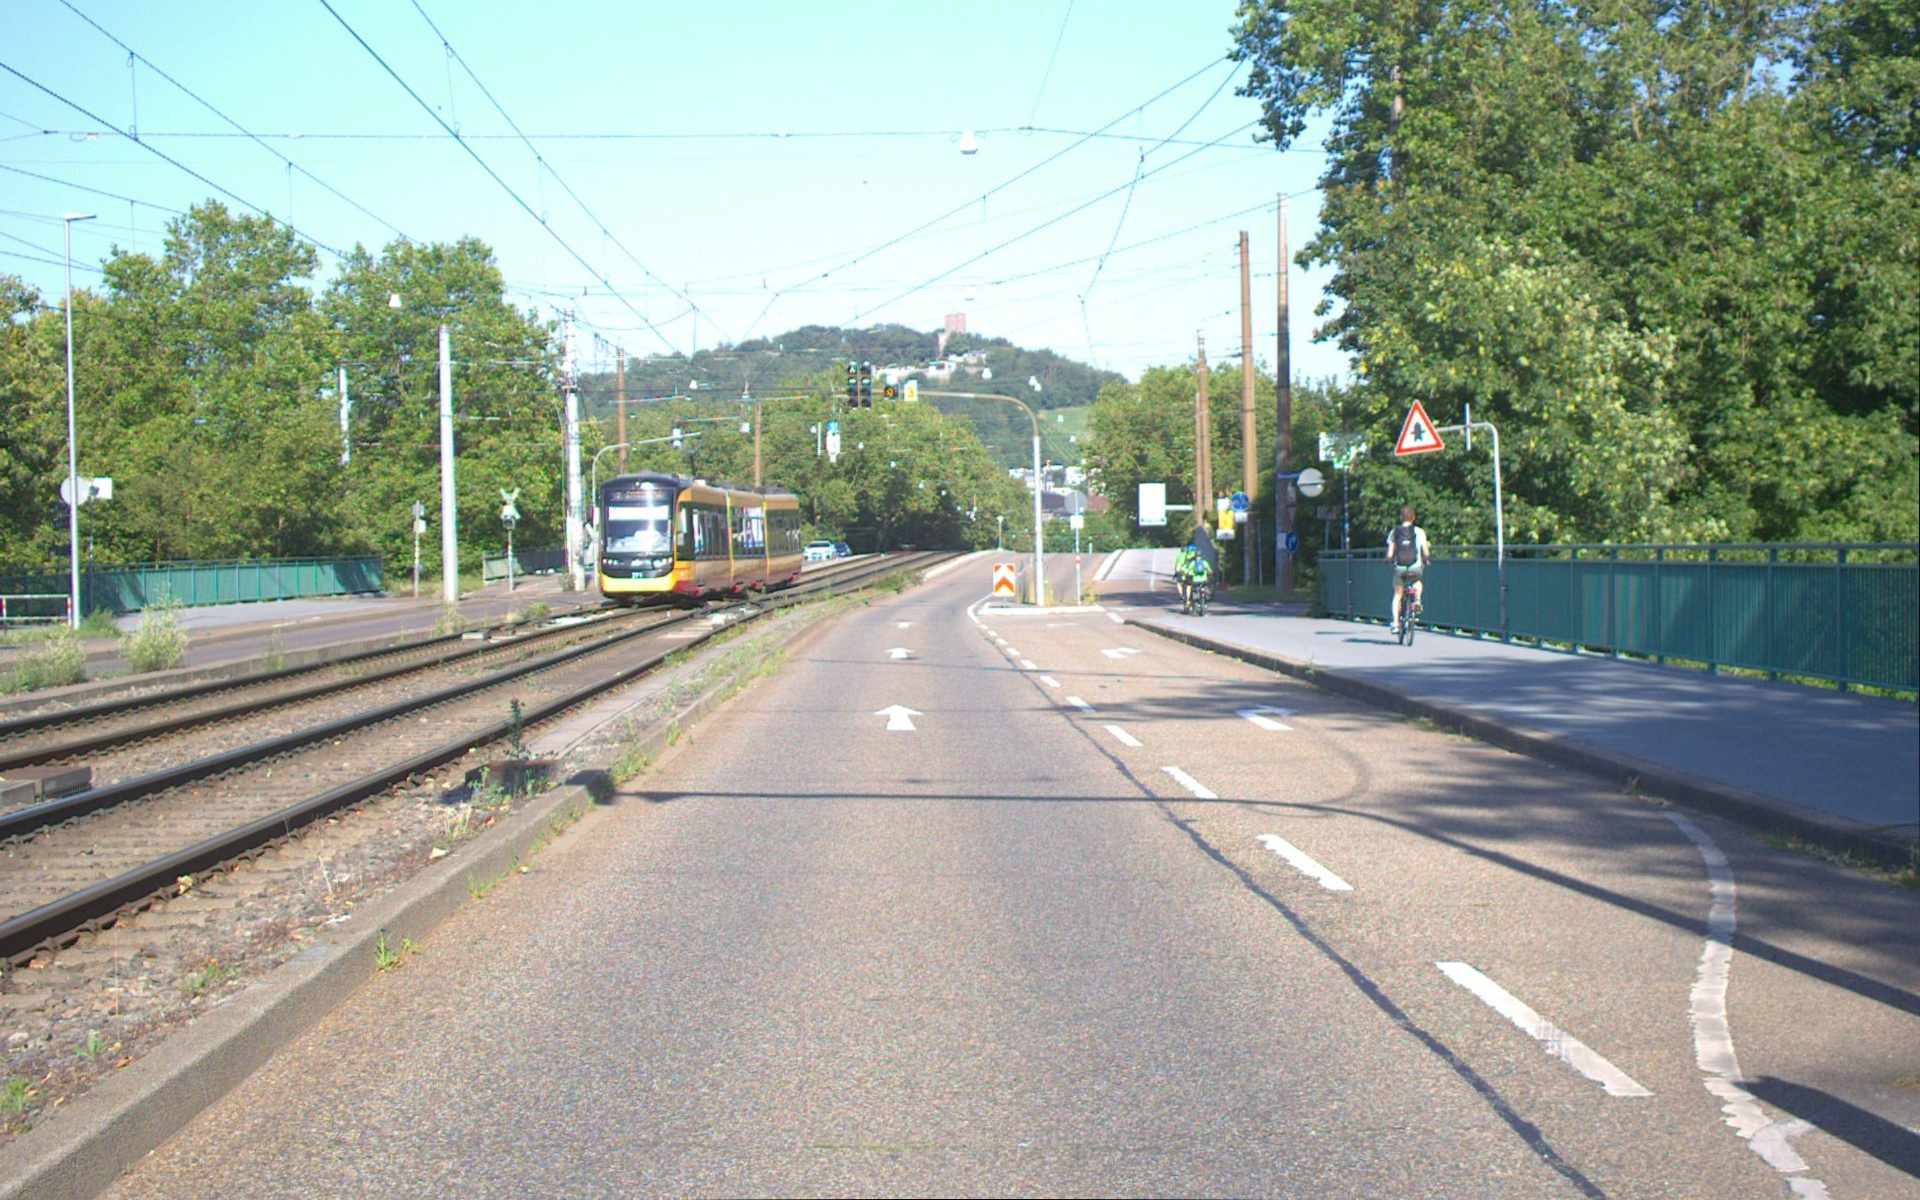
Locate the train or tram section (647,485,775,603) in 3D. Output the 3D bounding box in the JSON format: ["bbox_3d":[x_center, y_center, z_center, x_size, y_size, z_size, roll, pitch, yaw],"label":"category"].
[{"bbox_3d":[-7.623,-1.759,106.676,2.644,3.464,10.831,-1,1,3],"label":"train or tram section"}]

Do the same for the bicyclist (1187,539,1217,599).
[{"bbox_3d":[5.562,-0.711,79.013,0.604,1.374,0.975,-1,1,-1],"label":"bicyclist"}]

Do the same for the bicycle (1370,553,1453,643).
[{"bbox_3d":[6.128,-0.046,46.770,0.727,1.172,2.695,-1,1,-1],"label":"bicycle"}]

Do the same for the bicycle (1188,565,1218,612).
[{"bbox_3d":[5.587,-0.276,79.078,0.515,1.038,1.975,-1,1,-1],"label":"bicycle"}]

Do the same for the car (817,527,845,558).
[{"bbox_3d":[-8.662,-3.870,231.563,1.788,2.007,4.000,-1,1,-1],"label":"car"}]

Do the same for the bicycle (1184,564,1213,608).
[{"bbox_3d":[5.816,-0.343,83.977,0.539,1.038,1.975,-1,1,-1],"label":"bicycle"}]

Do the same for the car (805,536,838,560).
[{"bbox_3d":[-8.854,-3.338,219.754,1.950,1.481,4.000,-1,1,-1],"label":"car"}]

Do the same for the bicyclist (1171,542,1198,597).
[{"bbox_3d":[5.695,-0.774,87.321,0.604,1.374,0.975,-1,1,-1],"label":"bicyclist"}]

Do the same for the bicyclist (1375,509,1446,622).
[{"bbox_3d":[6.125,-0.475,46.767,0.824,1.515,0.975,-1,1,-1],"label":"bicyclist"}]

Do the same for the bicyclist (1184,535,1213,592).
[{"bbox_3d":[5.823,-0.901,84.035,0.604,1.374,0.975,-1,1,-1],"label":"bicyclist"}]

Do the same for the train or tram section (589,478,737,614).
[{"bbox_3d":[-8.158,-1.515,95.803,2.644,3.554,10.831,-1,1,3],"label":"train or tram section"}]

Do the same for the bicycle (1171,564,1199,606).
[{"bbox_3d":[5.701,-0.377,87.288,0.539,1.038,1.975,-1,1,-1],"label":"bicycle"}]
